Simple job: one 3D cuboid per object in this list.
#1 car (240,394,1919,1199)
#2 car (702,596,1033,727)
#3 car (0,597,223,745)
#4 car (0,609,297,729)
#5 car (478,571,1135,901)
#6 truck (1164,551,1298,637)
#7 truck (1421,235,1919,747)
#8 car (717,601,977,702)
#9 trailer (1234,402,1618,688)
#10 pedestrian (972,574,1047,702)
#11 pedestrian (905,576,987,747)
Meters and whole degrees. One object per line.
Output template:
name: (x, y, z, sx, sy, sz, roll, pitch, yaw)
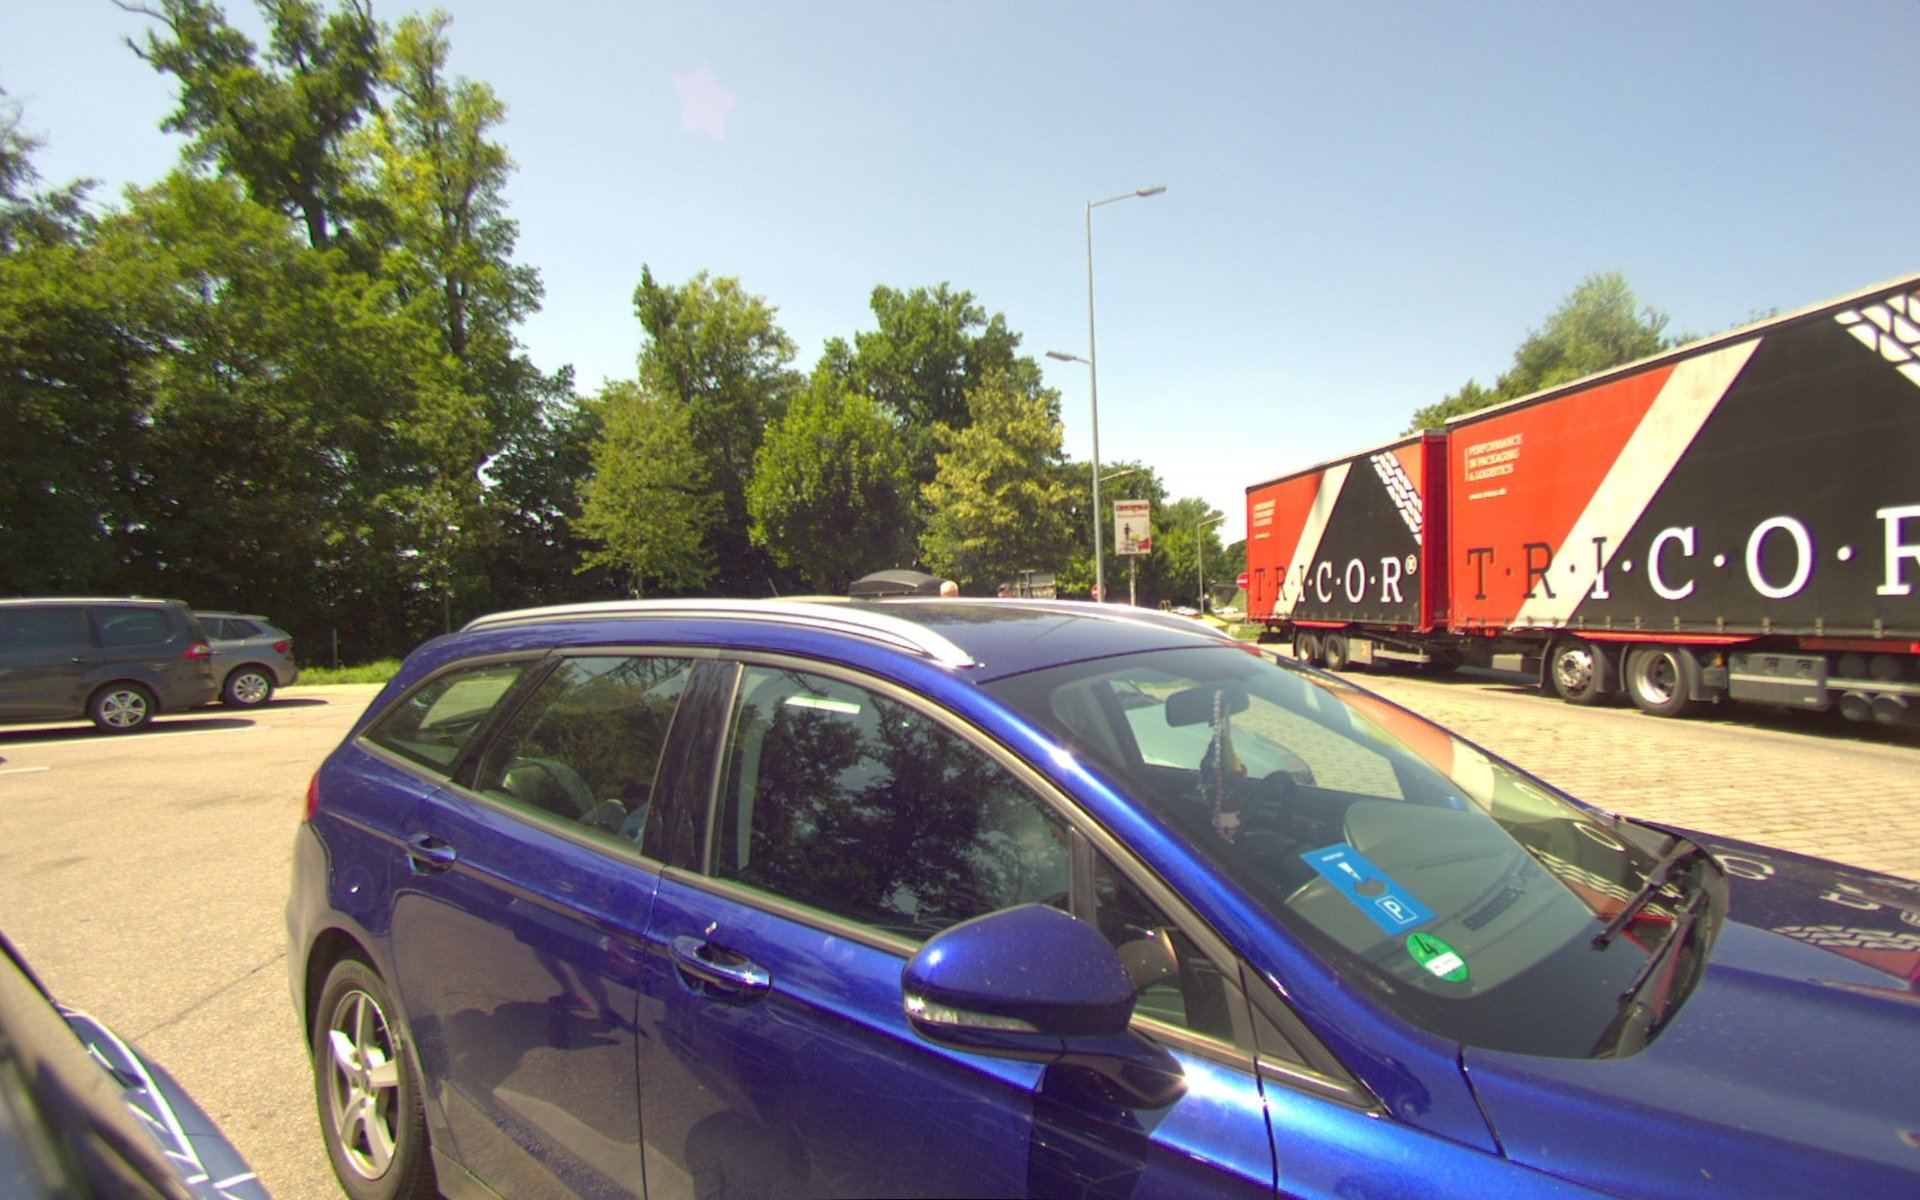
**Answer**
car: (0.241, 0.636, 2.105, 4.466, 1.476, 1.756, -3, -1, 40)
car: (-1.361, 0.762, 13.537, 4.466, 1.476, 1.756, -3, -1, 40)
car: (-11.683, 0.855, 12.560, 3.910, 1.701, 1.782, -1, -1, -43)
car: (-12.712, 0.980, 15.610, 3.910, 1.598, 1.782, -1, -1, -43)
car: (-1.262, 0.680, 6.663, 4.466, 1.476, 1.756, -3, -1, 40)
truck: (12.519, -0.233, 46.751, 5.782, 3.720, 1.987, -2, -1, 20)
truck: (8.948, -0.874, 10.242, 2.652, 4.159, 10.618, -1, -1, -6)
car: (-2.013, 0.834, 17.090, 4.466, 1.476, 1.756, -3, -1, 40)
trailer: (8.256, -0.778, 19.694, 2.800, 4.290, 8.692, -1, -1, -4)
pedestrian: (0.667, 0.497, 13.613, 0.638, 1.662, 0.717, -1, -2, -43)
pedestrian: (-0.126, 0.594, 10.024, 0.664, 1.614, 0.757, -2, -1, 7)
